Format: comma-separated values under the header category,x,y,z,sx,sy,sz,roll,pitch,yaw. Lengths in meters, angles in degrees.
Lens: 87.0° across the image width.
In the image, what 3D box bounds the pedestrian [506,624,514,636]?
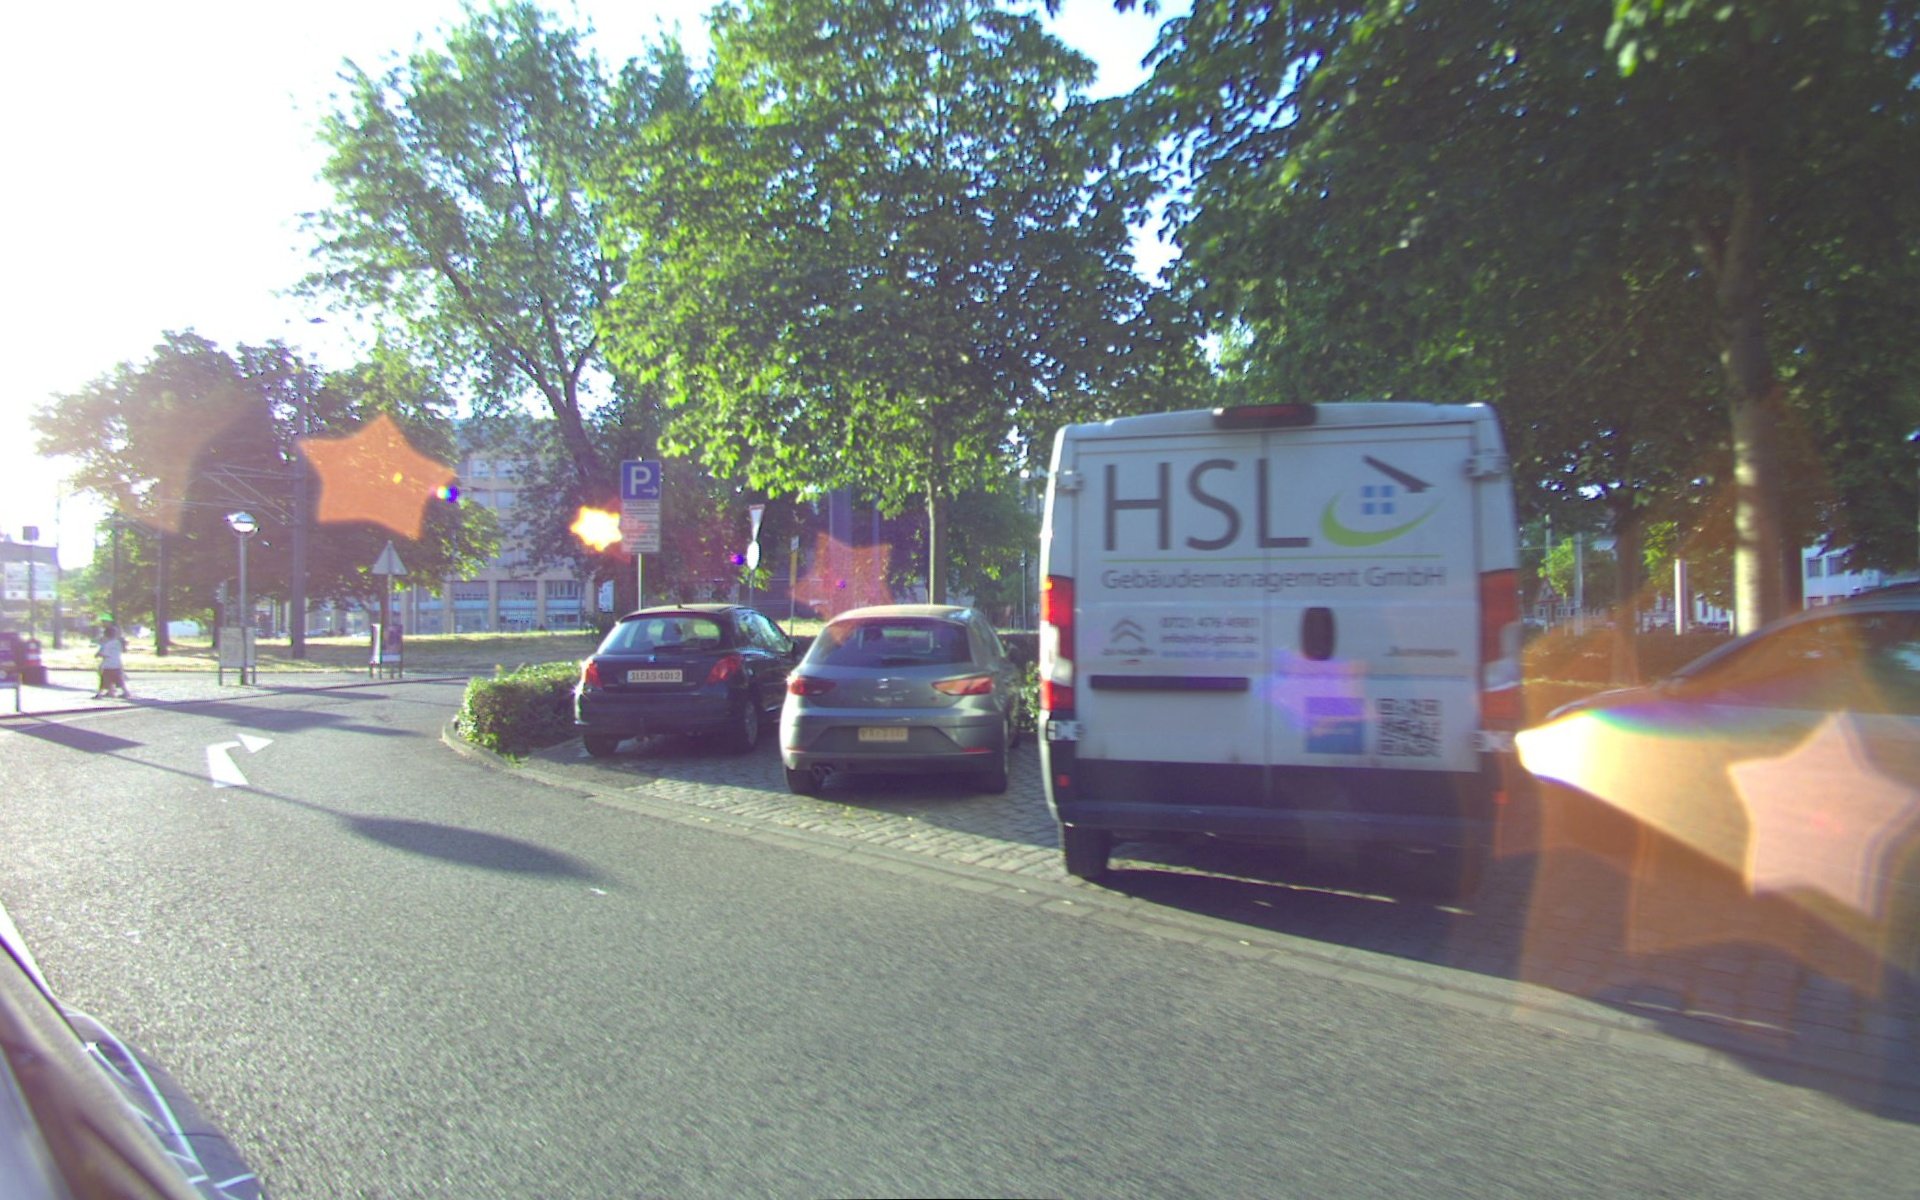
category,x,y,z,sx,sy,sz,roll,pitch,yaw
pedestrian,-49.831,3.313,112.047,0.678,1.334,0.564,-2,-1,20

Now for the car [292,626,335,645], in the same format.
category,x,y,z,sx,sy,sz,roll,pitch,yaw
car,-73.750,4.048,115.419,3.958,2.029,1.904,-2,-1,12

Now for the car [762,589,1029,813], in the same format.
category,x,y,z,sx,sy,sz,roll,pitch,yaw
car,-0.389,0.728,8.951,1.808,1.498,3.997,-1,-1,2

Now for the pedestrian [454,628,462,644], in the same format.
category,x,y,z,sx,sy,sz,roll,pitch,yaw
pedestrian,-56.793,4.086,114.551,0.614,1.705,0.527,-2,-1,24

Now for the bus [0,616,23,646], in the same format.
category,x,y,z,sx,sy,sz,roll,pitch,yaw
bus,-111.762,3.636,114.376,10.643,3.356,3.740,-2,-1,17

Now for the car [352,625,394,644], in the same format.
category,x,y,z,sx,sy,sz,roll,pitch,yaw
car,-65.735,3.852,113.350,3.870,2.029,1.849,-2,-1,12

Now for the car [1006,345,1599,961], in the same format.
category,x,y,z,sx,sy,sz,roll,pitch,yaw
car,1.834,0.220,6.238,2.182,2.268,4.592,-1,0,14

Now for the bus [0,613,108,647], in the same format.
category,x,y,z,sx,sy,sz,roll,pitch,yaw
bus,-100.138,3.348,110.777,13.595,3.388,3.740,-2,-1,17

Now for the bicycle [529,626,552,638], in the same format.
category,x,y,z,sx,sy,sz,roll,pitch,yaw
bicycle,-43.672,3.307,105.328,2.168,1.018,0.473,5,-2,-4

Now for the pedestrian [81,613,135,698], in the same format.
category,x,y,z,sx,sy,sz,roll,pitch,yaw
pedestrian,-16.369,1.054,19.464,0.683,1.571,0.701,-1,-1,-32

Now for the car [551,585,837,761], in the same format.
category,x,y,z,sx,sy,sz,roll,pitch,yaw
car,-2.691,0.684,11.213,1.781,1.594,3.877,-1,0,6

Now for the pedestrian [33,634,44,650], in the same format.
category,x,y,z,sx,sy,sz,roll,pitch,yaw
pedestrian,-86.070,3.899,94.523,0.698,1.470,0.664,-2,-1,37

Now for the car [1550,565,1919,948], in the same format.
category,x,y,z,sx,sy,sz,roll,pitch,yaw
car,4.609,0.586,4.125,1.855,1.479,4.002,-1,-1,-3

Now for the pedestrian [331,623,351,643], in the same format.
category,x,y,z,sx,sy,sz,roll,pitch,yaw
pedestrian,-68.296,3.671,111.647,1.617,2.110,1.055,-2,-1,12

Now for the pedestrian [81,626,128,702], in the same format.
category,x,y,z,sx,sy,sz,roll,pitch,yaw
pedestrian,-15.889,1.177,18.804,0.604,1.374,0.565,-1,-1,-36

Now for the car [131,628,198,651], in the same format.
category,x,y,z,sx,sy,sz,roll,pitch,yaw
car,-108.476,5.342,138.189,2.290,2.900,7.157,-2,-2,18
